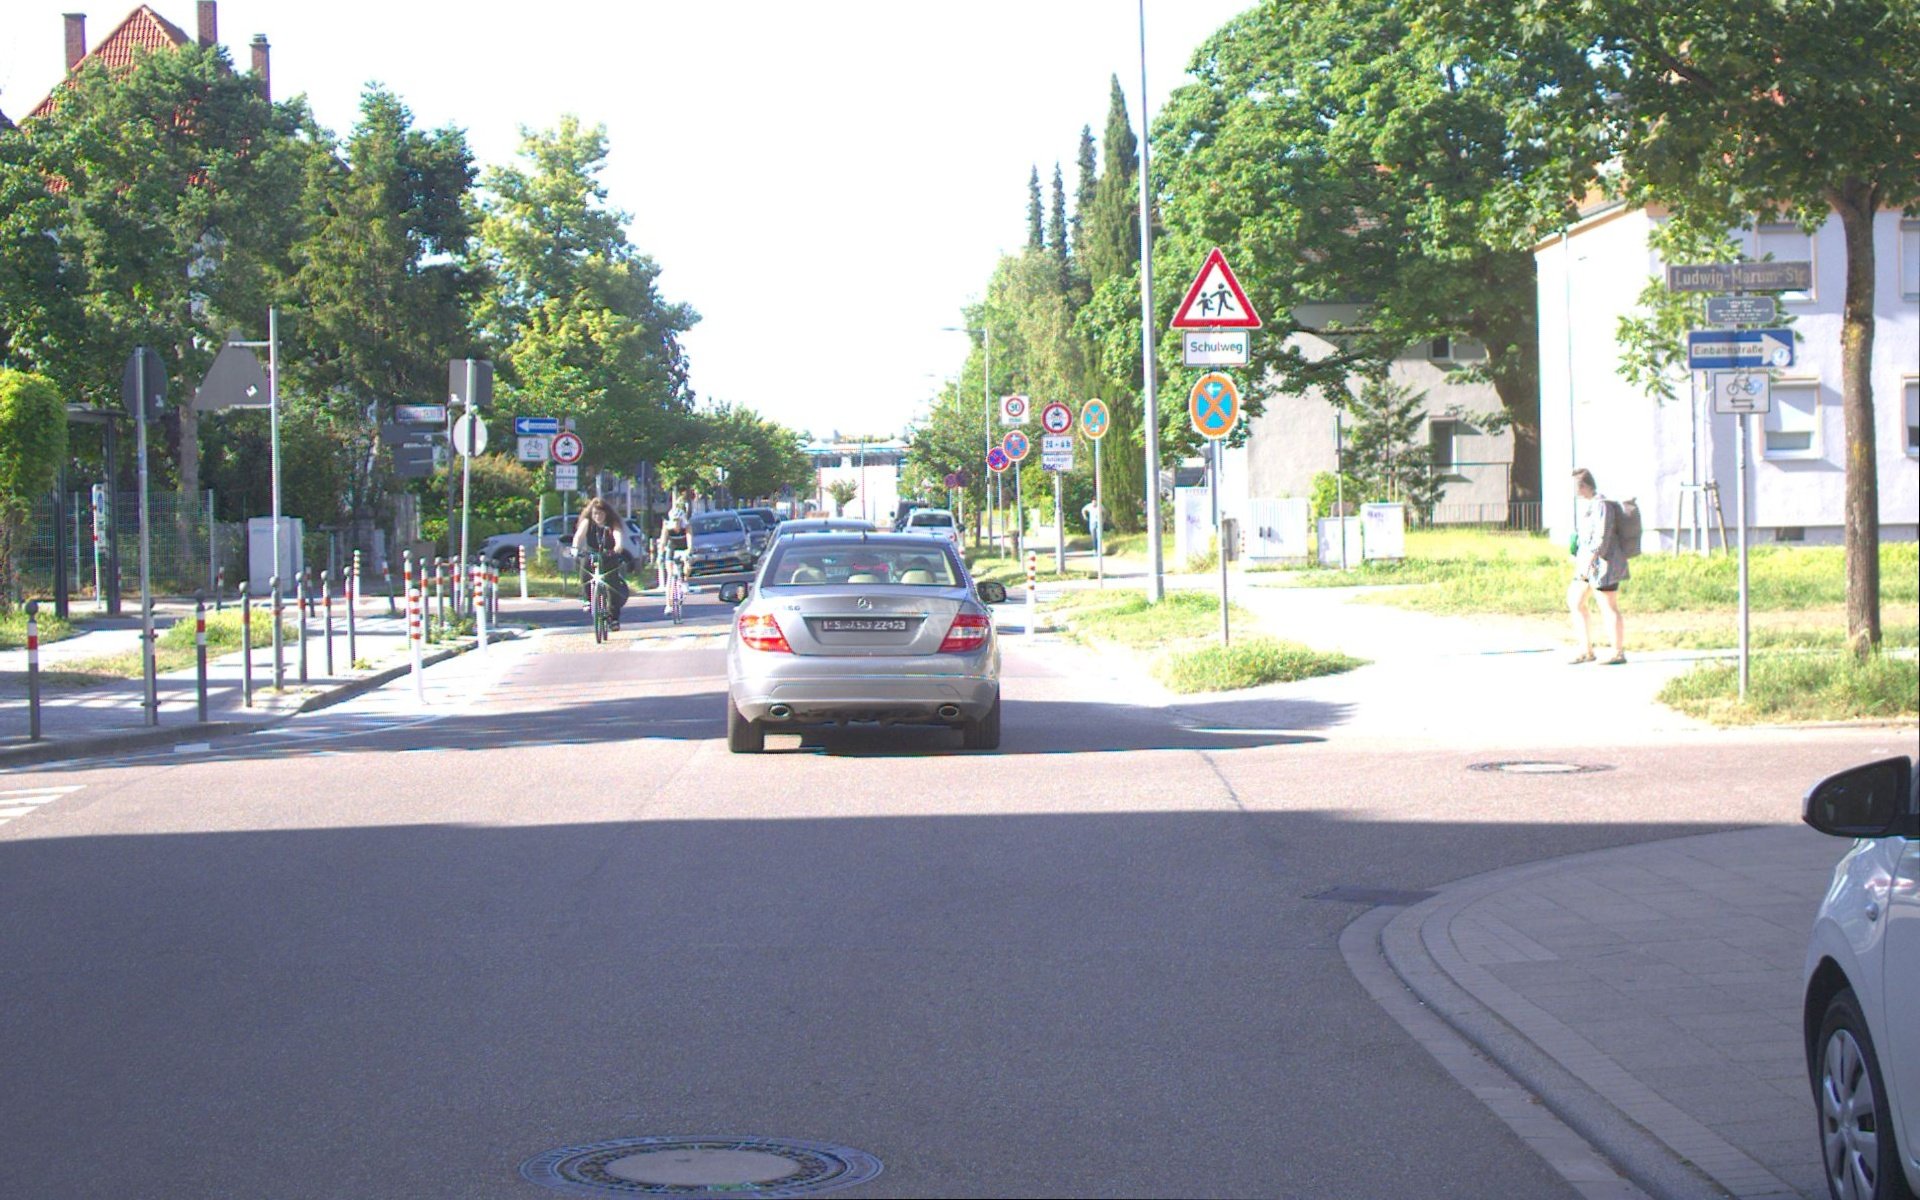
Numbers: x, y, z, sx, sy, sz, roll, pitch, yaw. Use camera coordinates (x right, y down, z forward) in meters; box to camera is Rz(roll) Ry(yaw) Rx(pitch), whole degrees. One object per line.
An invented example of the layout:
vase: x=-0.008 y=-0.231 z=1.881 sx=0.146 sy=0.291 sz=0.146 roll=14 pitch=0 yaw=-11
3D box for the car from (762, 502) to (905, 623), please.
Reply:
car: x=-1.597 y=-0.471 z=43.605 sx=1.707 sy=1.443 sz=4.203 roll=1 pitch=0 yaw=-2

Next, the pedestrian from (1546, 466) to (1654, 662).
pedestrian: x=5.391 y=-0.306 z=28.954 sx=0.647 sy=1.617 sz=0.616 roll=-1 pitch=2 yaw=37

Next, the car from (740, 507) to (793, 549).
car: x=-7.396 y=-2.749 z=131.279 sx=1.787 sy=1.527 sz=4.001 roll=-2 pitch=2 yaw=-6

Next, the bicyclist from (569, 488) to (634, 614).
bicyclist: x=-4.362 y=-0.602 z=41.866 sx=0.680 sy=1.504 sz=0.655 roll=-1 pitch=2 yaw=0

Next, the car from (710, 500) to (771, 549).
car: x=-7.137 y=-2.457 z=111.490 sx=1.787 sy=1.527 sz=4.001 roll=-2 pitch=2 yaw=-6

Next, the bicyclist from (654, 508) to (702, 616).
bicyclist: x=-3.971 y=-0.540 z=48.457 sx=0.572 sy=1.504 sz=0.655 roll=-1 pitch=2 yaw=0

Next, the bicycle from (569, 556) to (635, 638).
bicycle: x=-4.350 y=-0.044 z=41.852 sx=0.589 sy=0.928 sz=1.850 roll=-1 pitch=2 yaw=0

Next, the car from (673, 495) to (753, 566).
car: x=-6.335 y=-1.789 z=87.880 sx=1.872 sy=1.722 sz=4.001 roll=-2 pitch=2 yaw=-6

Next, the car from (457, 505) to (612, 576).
car: x=-9.850 y=-1.393 z=79.587 sx=3.493 sy=1.528 sz=1.645 roll=-2 pitch=2 yaw=-8

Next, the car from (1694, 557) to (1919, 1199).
car: x=2.534 y=0.590 z=6.041 sx=1.564 sy=1.406 sz=3.730 roll=-5 pitch=0 yaw=0

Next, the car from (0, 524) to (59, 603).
car: x=-18.105 y=-0.659 z=60.618 sx=3.986 sy=1.371 sz=2.000 roll=1 pitch=0 yaw=-4

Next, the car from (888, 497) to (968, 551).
car: x=-0.866 y=-2.011 z=90.538 sx=1.722 sy=1.325 sz=4.001 roll=-2 pitch=2 yaw=-6

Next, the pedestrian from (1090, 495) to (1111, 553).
pedestrian: x=3.801 y=-2.063 z=92.947 sx=0.509 sy=1.554 sz=0.643 roll=1 pitch=0 yaw=0

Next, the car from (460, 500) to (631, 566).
car: x=-9.973 y=-1.596 z=82.922 sx=3.986 sy=1.518 sz=1.757 roll=1 pitch=0 yaw=-3

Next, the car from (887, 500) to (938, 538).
car: x=-2.046 y=-3.470 z=146.712 sx=1.787 sy=1.527 sz=4.001 roll=-2 pitch=2 yaw=-6

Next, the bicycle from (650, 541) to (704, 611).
bicycle: x=-3.976 y=-0.345 z=48.425 sx=0.589 sy=0.928 sz=1.850 roll=-1 pitch=2 yaw=0

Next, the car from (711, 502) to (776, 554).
car: x=-6.726 y=-2.241 z=106.496 sx=1.787 sy=1.527 sz=4.001 roll=-2 pitch=2 yaw=-6

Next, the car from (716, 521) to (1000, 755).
car: x=-0.640 y=0.220 z=23.060 sx=1.726 sy=1.415 sz=3.960 roll=1 pitch=0 yaw=0
